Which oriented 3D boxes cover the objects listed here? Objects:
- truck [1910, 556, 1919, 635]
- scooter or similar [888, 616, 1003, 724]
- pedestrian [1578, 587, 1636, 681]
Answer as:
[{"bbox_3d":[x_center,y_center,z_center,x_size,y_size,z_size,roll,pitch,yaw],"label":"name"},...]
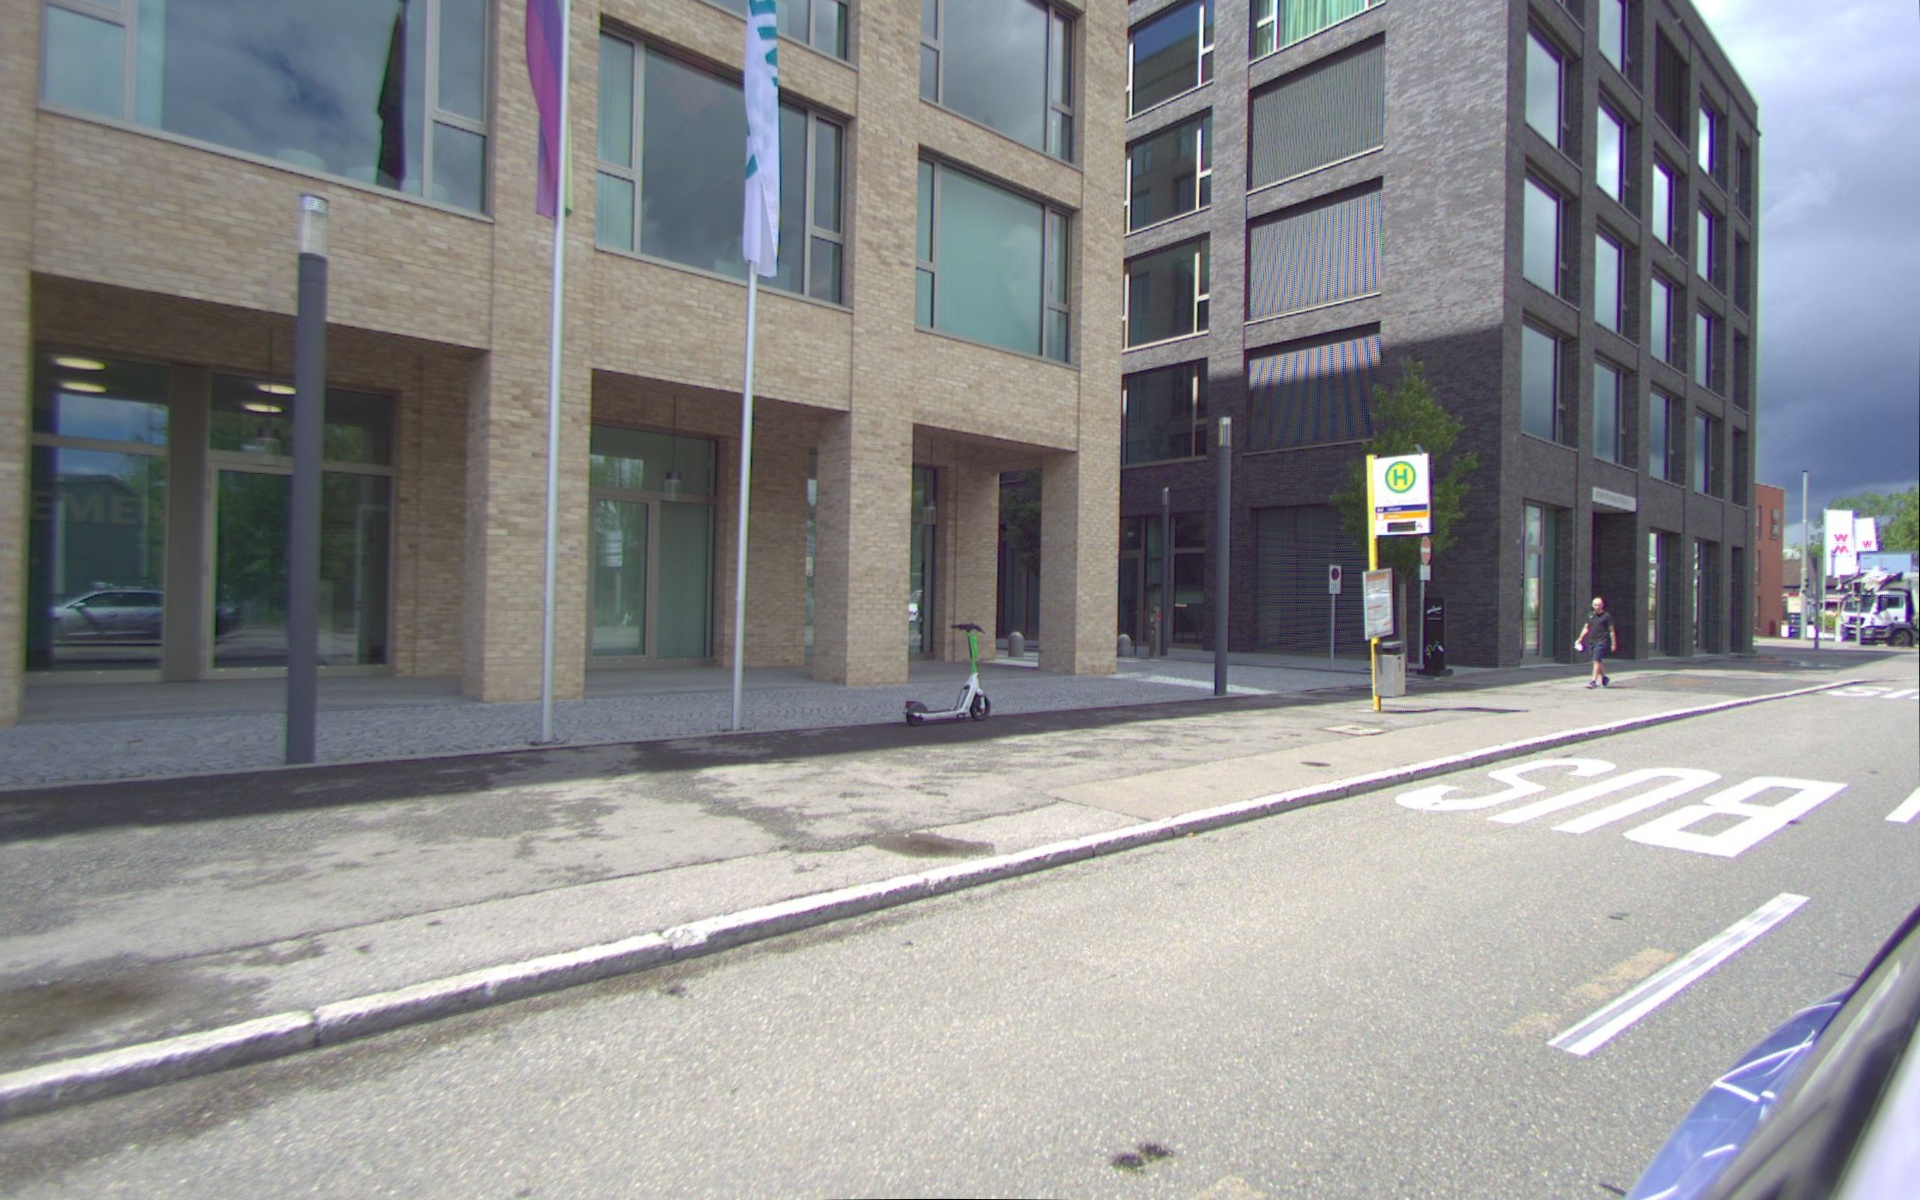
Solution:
[{"bbox_3d":[52.782,-0.205,53.116,10.177,3.961,2.836,0,1,-39],"label":"truck"},{"bbox_3d":[-0.153,0.780,11.791,1.379,1.167,0.428,0,1,-41],"label":"scooter or similar"},{"bbox_3d":[12.374,0.639,19.354,0.945,1.750,0.684,1,-1,-41],"label":"pedestrian"}]
